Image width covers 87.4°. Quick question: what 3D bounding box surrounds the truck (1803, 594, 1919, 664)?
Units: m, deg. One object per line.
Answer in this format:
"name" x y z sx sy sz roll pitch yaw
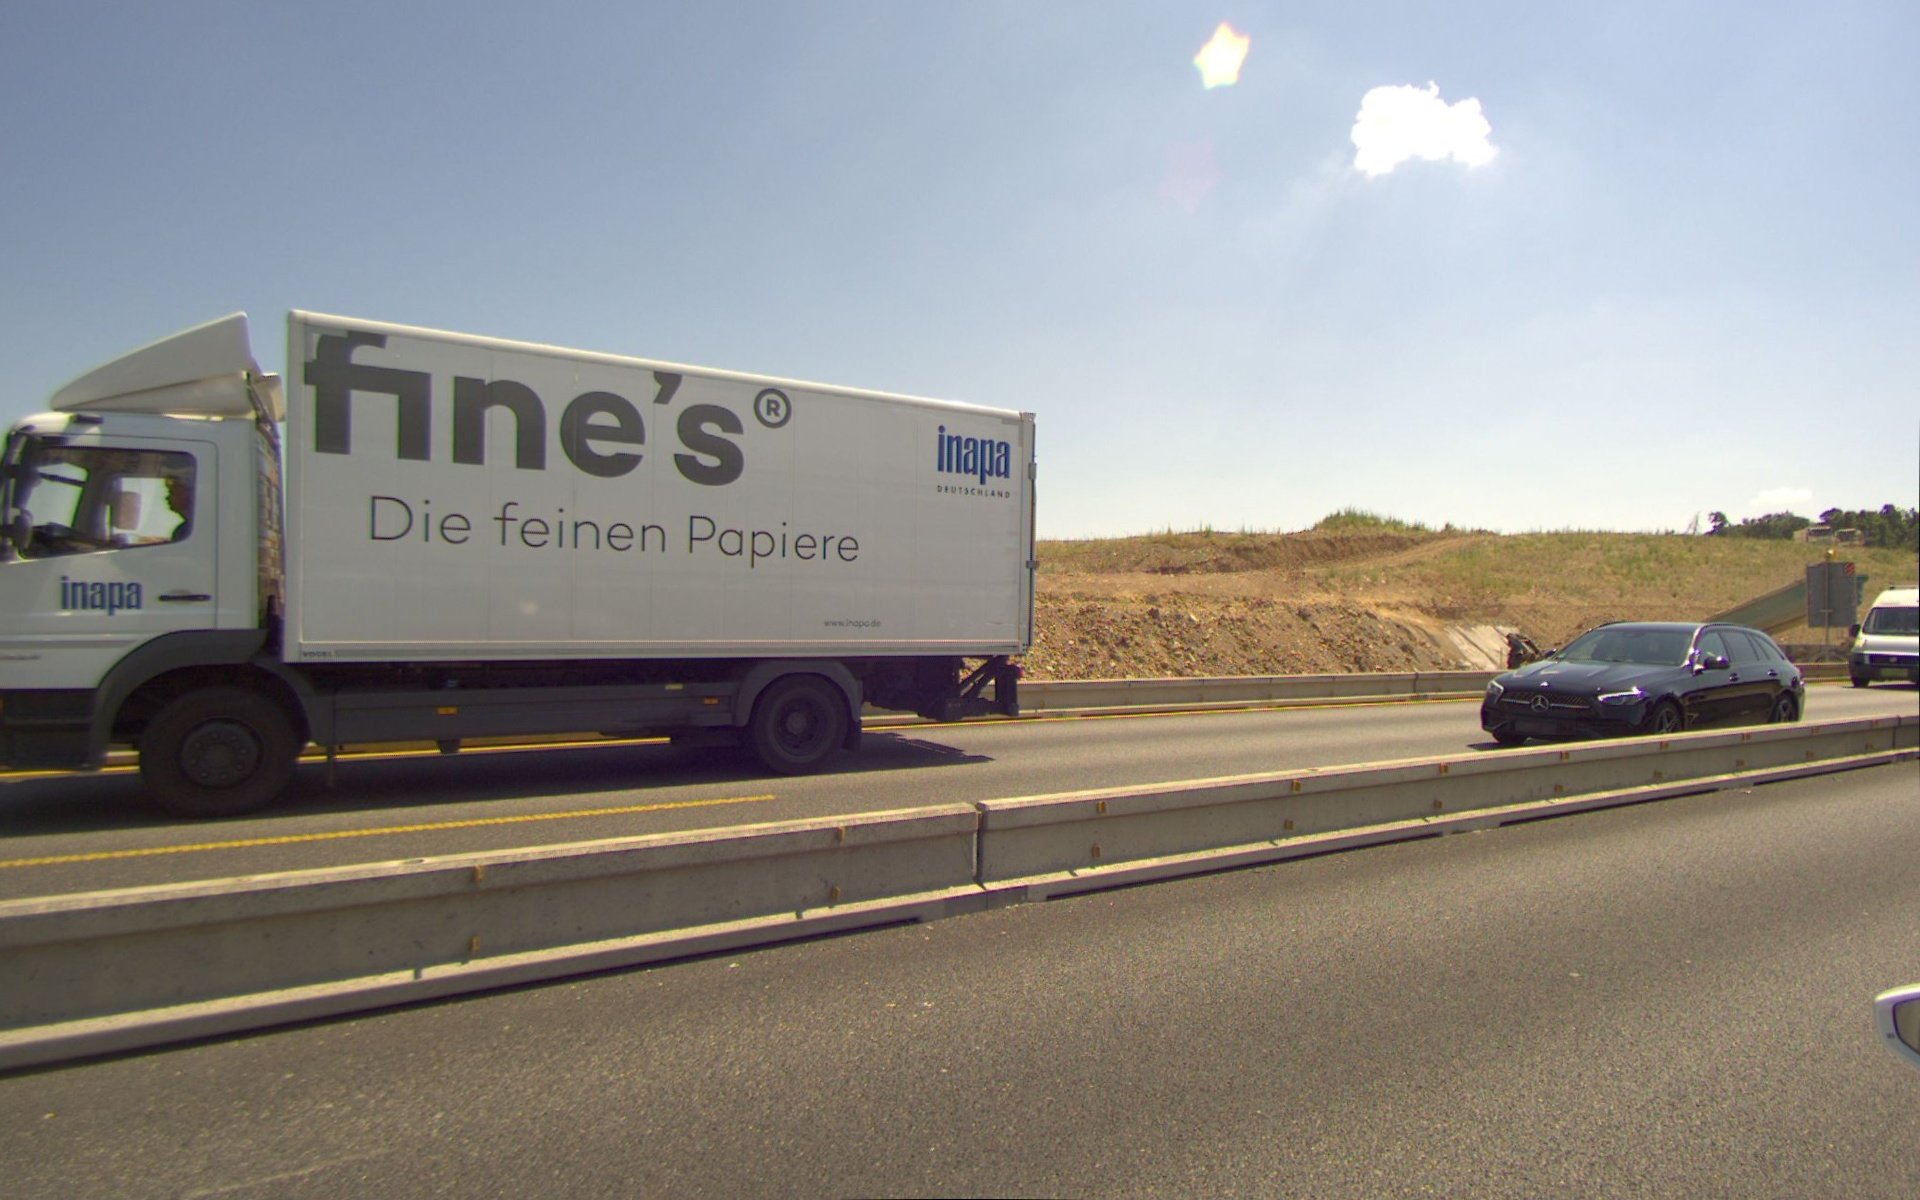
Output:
"truck" 42.225 1.342 45.988 4.966 3.003 2.585 2 0 24

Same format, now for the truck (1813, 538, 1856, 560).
"truck" 130.410 -7.554 149.895 2.258 2.785 8.901 2 0 24

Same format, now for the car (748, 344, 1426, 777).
"car" 1.785 -0.309 12.097 7.996 3.790 2.894 1 1 -31

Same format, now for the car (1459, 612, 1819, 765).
"car" 8.173 0.958 11.997 4.508 1.502 1.779 2 0 -30

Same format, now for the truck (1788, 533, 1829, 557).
"truck" 123.471 -7.947 146.300 2.317 2.937 8.362 2 0 24

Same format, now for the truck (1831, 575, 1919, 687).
"truck" 24.711 0.710 25.497 6.282 2.604 2.087 0 2 -32

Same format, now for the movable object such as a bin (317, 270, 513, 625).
"movable object such as a bin" -15.445 -3.068 28.283 3.348 6.863 18.135 2 0 -30

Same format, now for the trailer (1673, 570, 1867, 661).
"trailer" 40.708 0.747 50.968 2.745 4.152 8.367 2 0 -2
